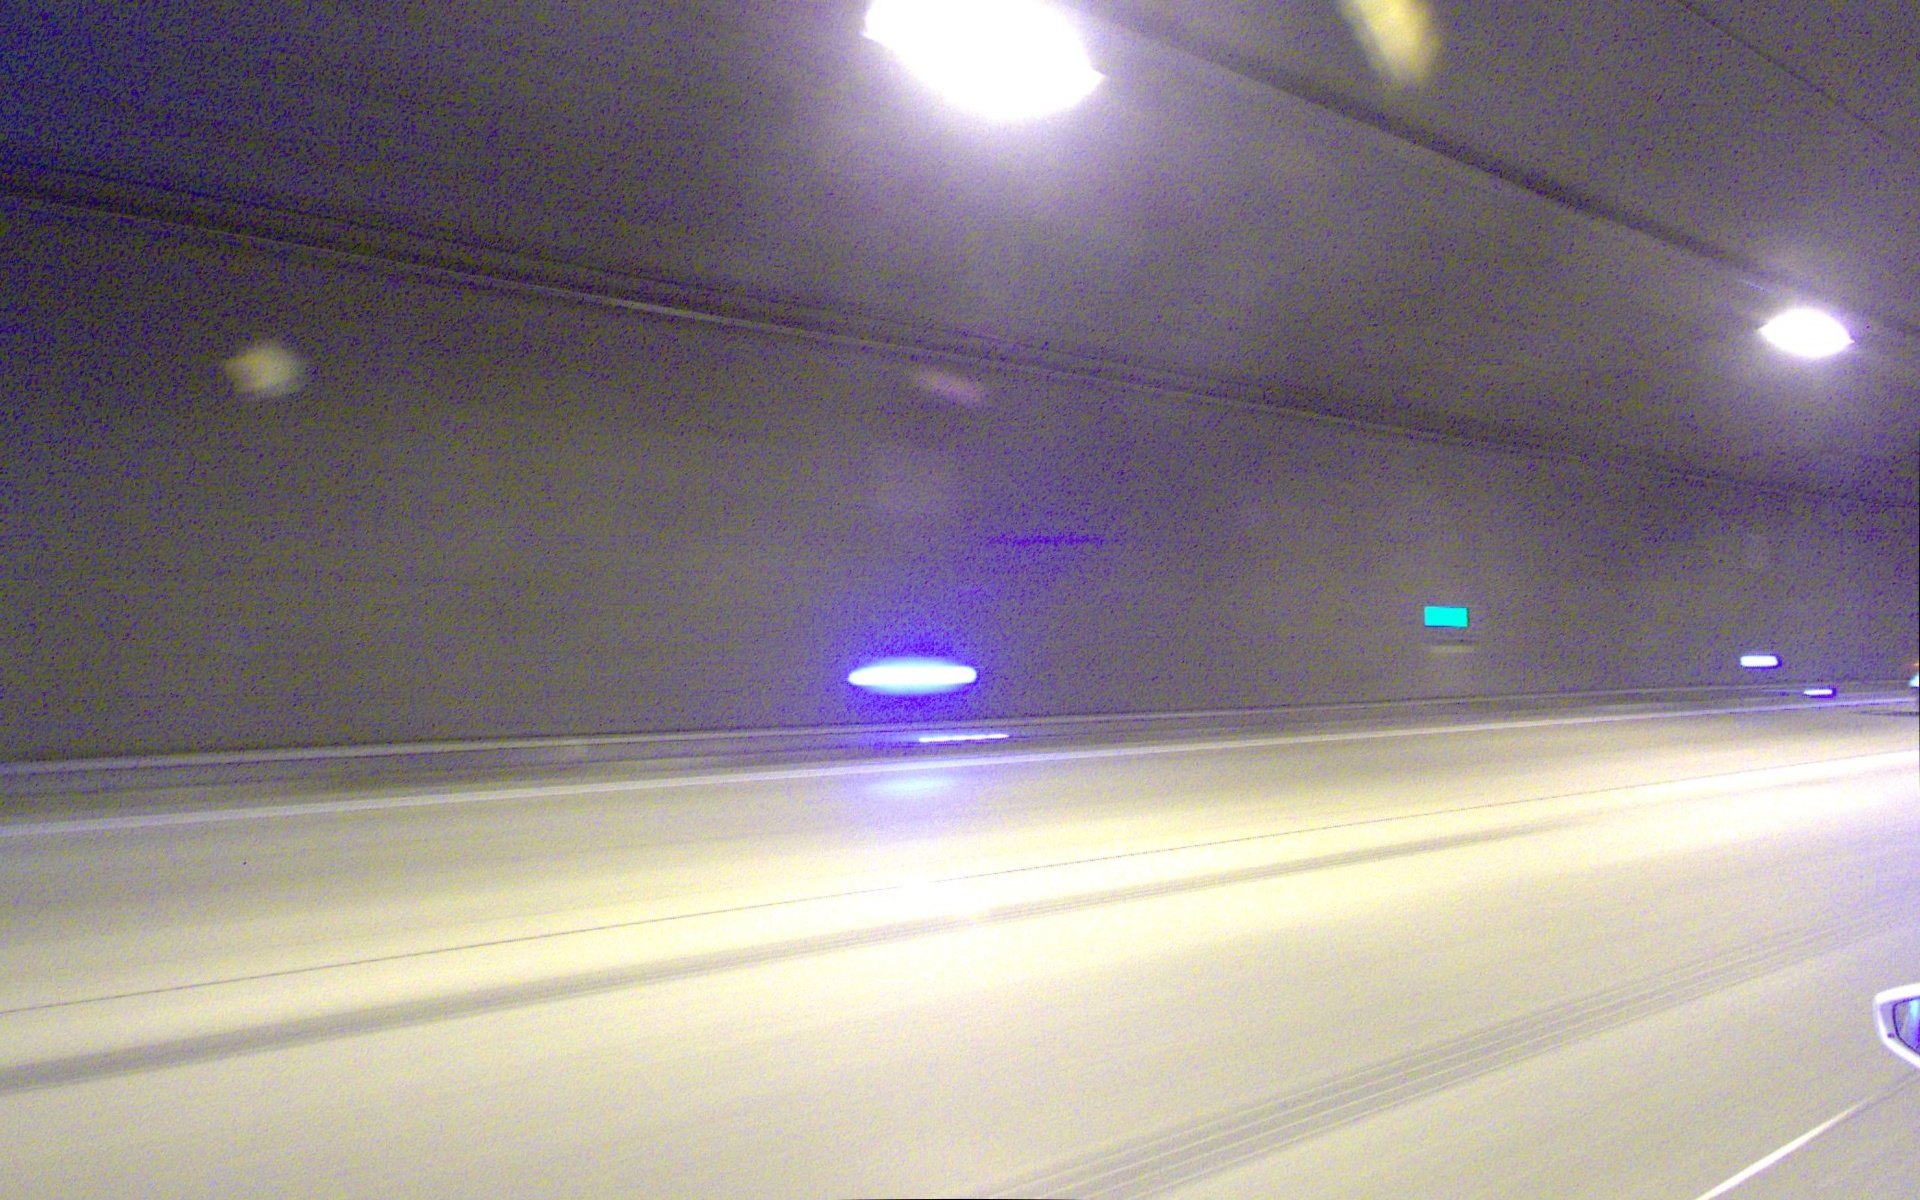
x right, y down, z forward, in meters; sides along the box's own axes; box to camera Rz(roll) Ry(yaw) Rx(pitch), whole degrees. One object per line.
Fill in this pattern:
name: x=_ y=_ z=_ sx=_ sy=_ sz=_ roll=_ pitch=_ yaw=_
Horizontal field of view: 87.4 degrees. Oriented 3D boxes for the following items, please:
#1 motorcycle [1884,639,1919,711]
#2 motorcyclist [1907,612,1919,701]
motorcycle: x=17.007 y=1.285 z=17.308 sx=2.402 sy=1.173 sz=1.047 roll=1 pitch=0 yaw=-34
motorcyclist: x=16.823 y=0.976 z=17.183 sx=0.880 sy=1.509 sz=0.624 roll=0 pitch=3 yaw=-31
